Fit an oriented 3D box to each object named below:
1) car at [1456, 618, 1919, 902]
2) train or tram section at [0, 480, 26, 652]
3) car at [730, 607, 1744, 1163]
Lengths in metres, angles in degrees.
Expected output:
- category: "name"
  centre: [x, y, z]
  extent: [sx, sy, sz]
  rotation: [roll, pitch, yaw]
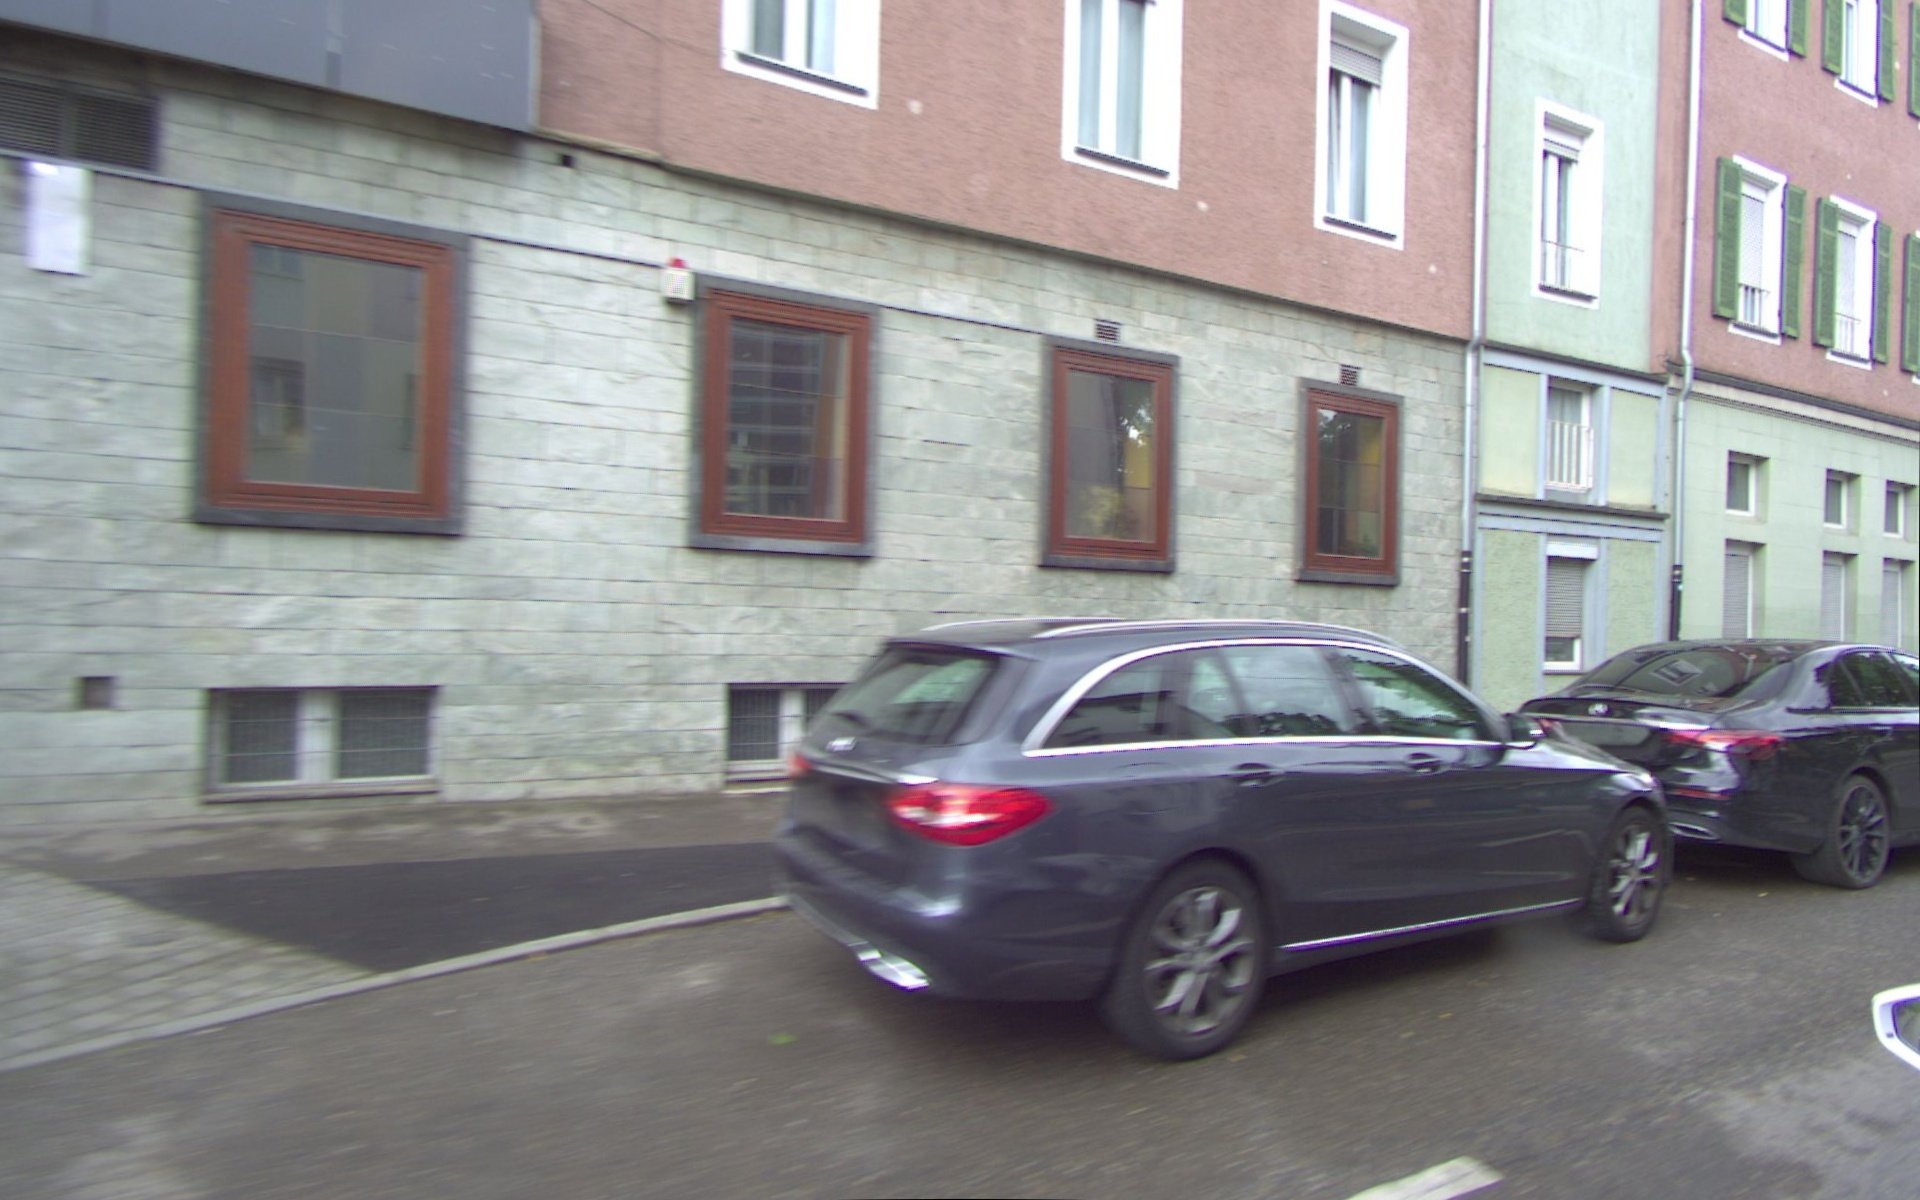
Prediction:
- category: "car"
  centre: [6.011, 0.958, 7.174]
  extent: [4.856, 1.474, 1.823]
  rotation: [3, -1, -26]
- category: "train or tram section"
  centre: [-24.209, -1.108, 17.641]
  extent: [2.869, 3.719, 11.003]
  rotation: [5, -1, 23]
- category: "car"
  centre: [1.446, 0.861, 4.617]
  extent: [4.530, 1.474, 1.820]
  rotation: [3, -1, -30]
